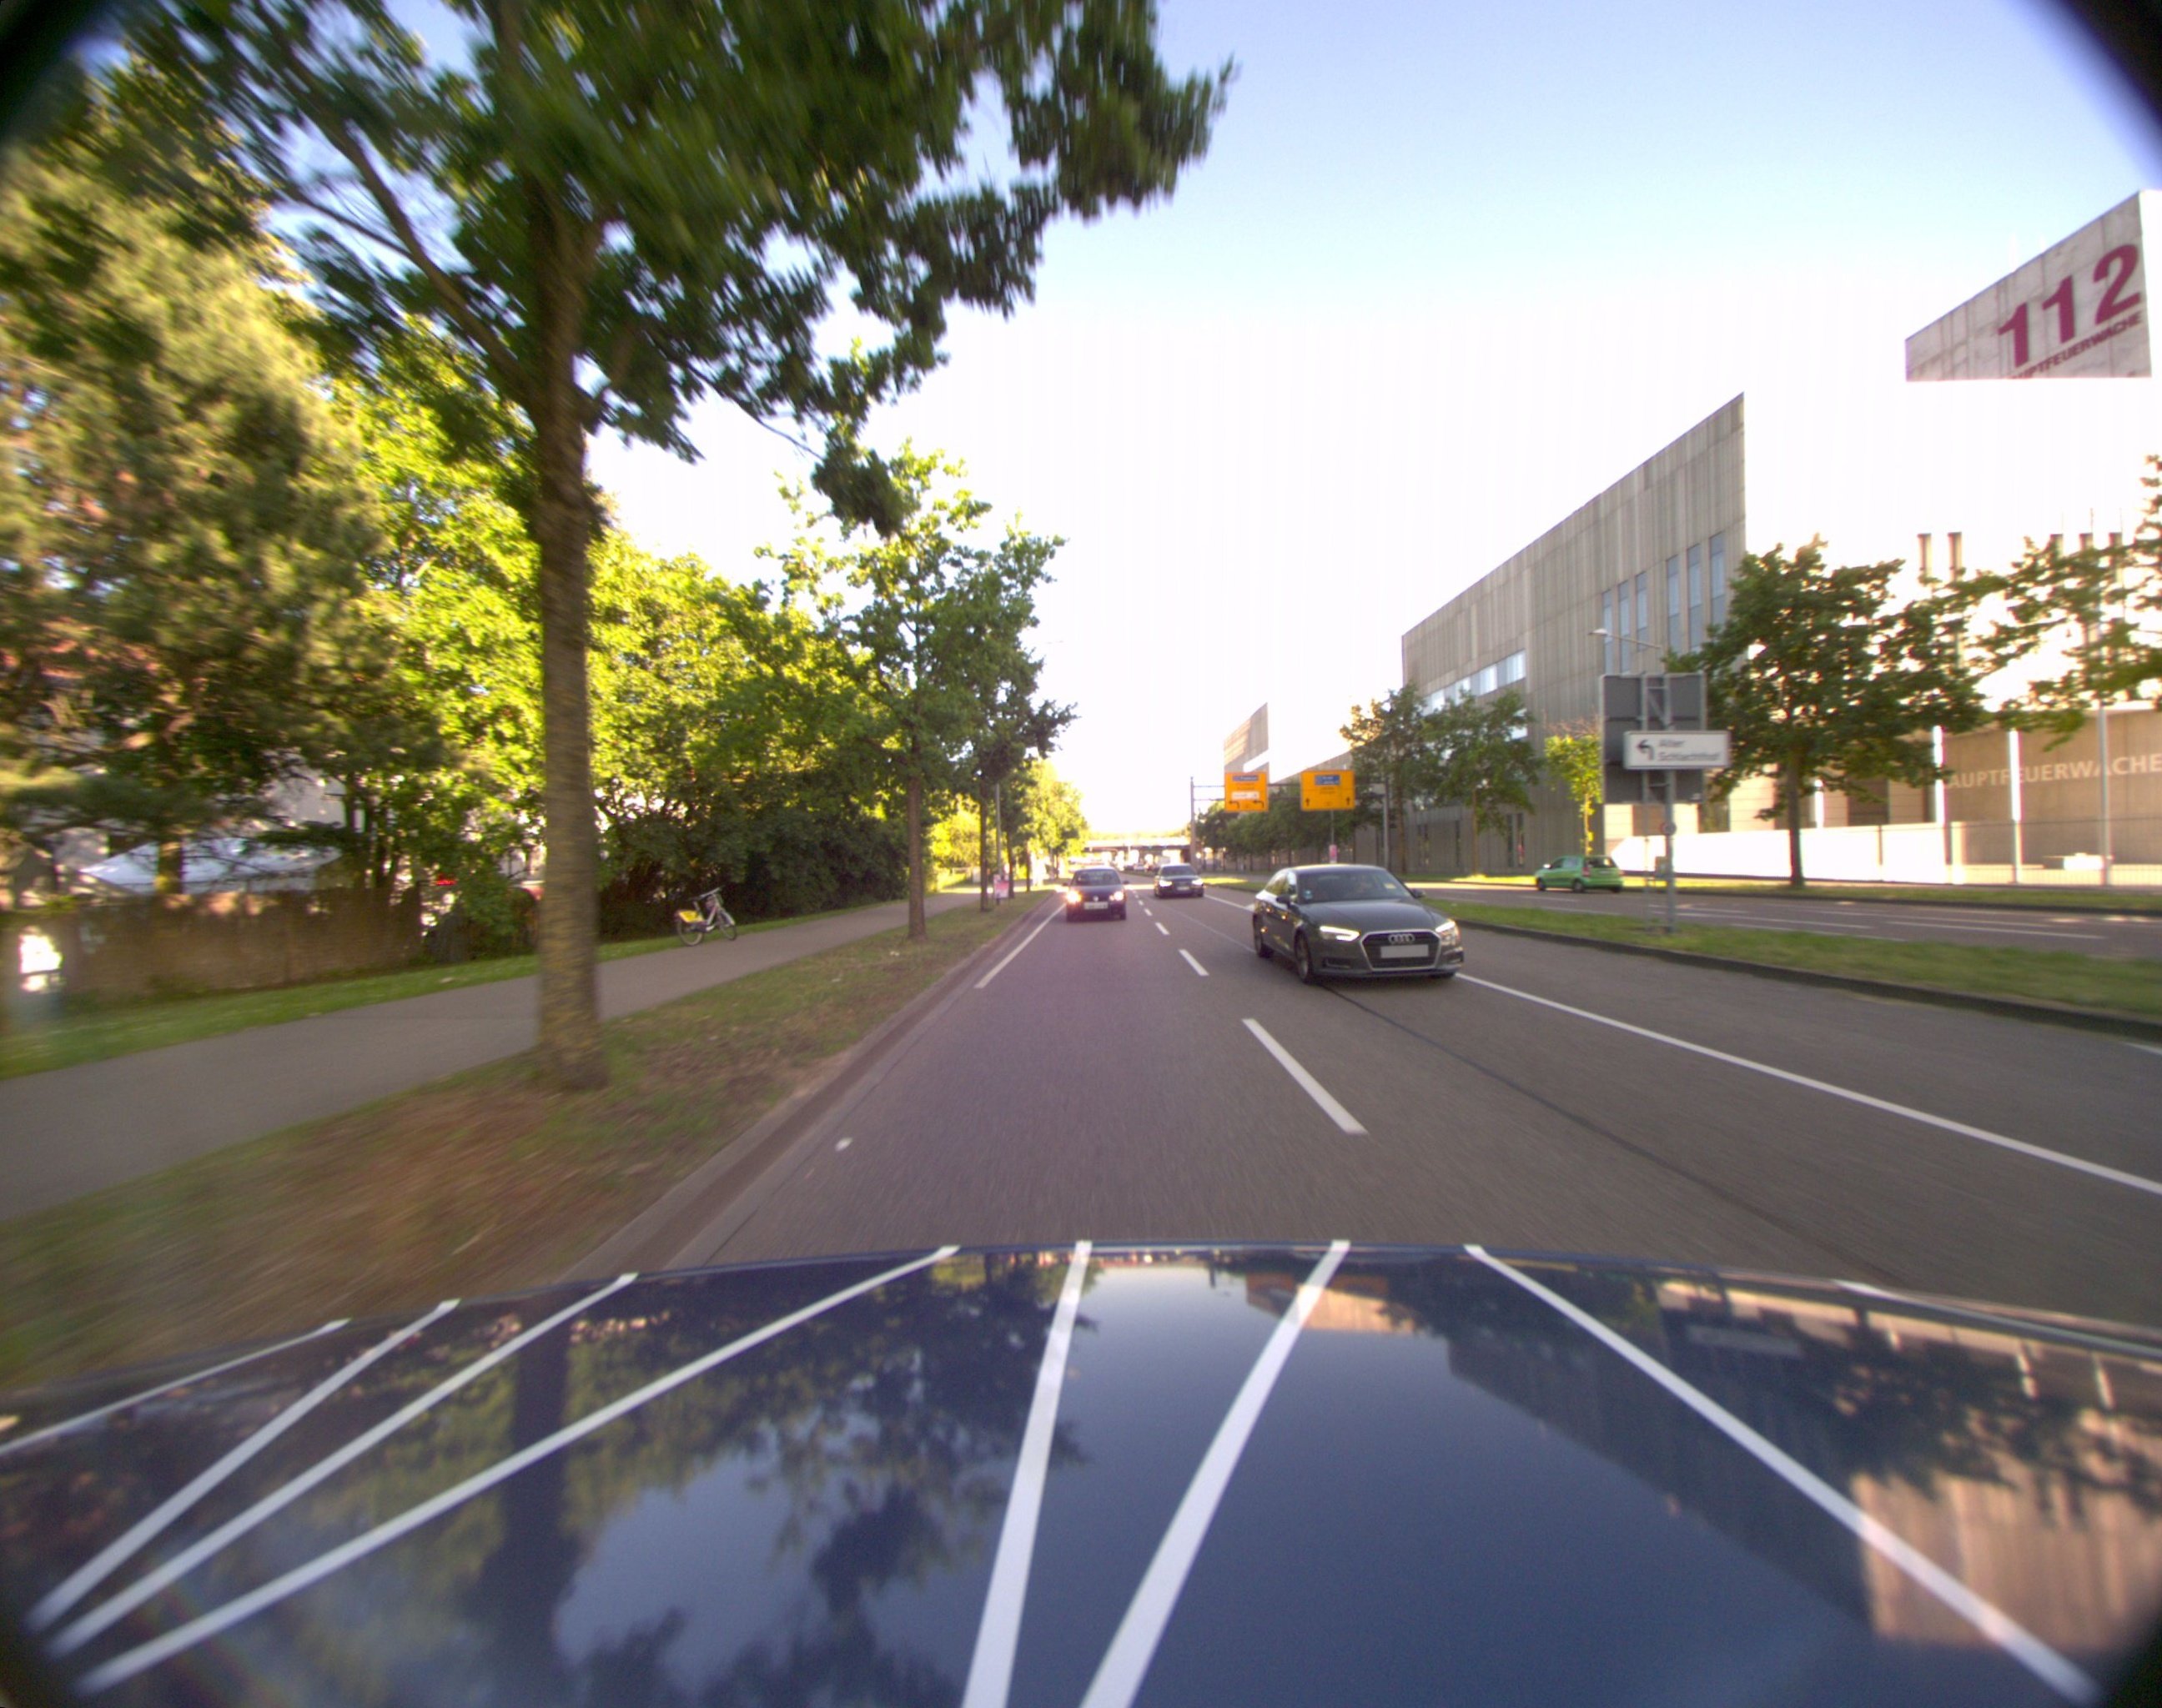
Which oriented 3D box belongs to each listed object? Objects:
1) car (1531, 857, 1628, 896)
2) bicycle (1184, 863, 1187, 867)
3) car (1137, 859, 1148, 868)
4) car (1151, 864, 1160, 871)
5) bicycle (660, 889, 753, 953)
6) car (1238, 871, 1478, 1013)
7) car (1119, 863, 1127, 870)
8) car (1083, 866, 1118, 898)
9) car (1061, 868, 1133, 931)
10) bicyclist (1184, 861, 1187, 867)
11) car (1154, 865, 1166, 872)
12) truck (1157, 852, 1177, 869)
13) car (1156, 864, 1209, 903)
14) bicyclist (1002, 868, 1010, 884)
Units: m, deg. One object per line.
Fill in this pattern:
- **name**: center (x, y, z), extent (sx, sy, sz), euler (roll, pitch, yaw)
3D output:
- **car**: center (19.491, 0.858, 29.866), extent (1.450, 1.428, 3.459), euler (-2, -1, -1)
- **bicycle**: center (28.101, 2.961, 204.157), extent (0.513, 0.885, 1.754), euler (-1, -1, 0)
- **car**: center (12.016, 1.870, 149.688), extent (1.828, 1.672, 4.659), euler (0, 0, 0)
- **car**: center (15.706, 2.834, 160.000), extent (1.624, 1.460, 3.640), euler (0, -1, 1)
- **bicycle**: center (-7.347, 1.291, 15.009), extent (0.775, 1.124, 1.710), euler (-2, 0, 8)
- **car**: center (3.445, 1.000, 10.403), extent (1.702, 1.395, 4.365), euler (-3, -1, 1)
- **car**: center (9.388, 2.718, 170.479), extent (1.605, 1.571, 3.213), euler (0, 0, 1)
- **car**: center (0.957, 1.413, 39.460), extent (1.702, 1.478, 3.947), euler (-2, 0, 0)
- **car**: center (0.395, 1.152, 20.700), extent (1.702, 1.474, 4.053), euler (-3, -1, 0)
- **bicyclist**: center (28.089, 2.662, 204.080), extent (0.509, 1.433, 0.753), euler (-1, 0, 0)
- **car**: center (14.816, 2.713, 142.720), extent (1.840, 1.415, 4.001), euler (0, -1, 0)
- **truck**: center (15.062, 1.178, 133.292), extent (2.692, 2.943, 7.115), euler (0, -1, 1)
- **car**: center (4.302, 1.206, 32.640), extent (1.702, 1.528, 3.947), euler (-2, 0, 0)
- **bicyclist**: center (-7.038, 2.061, 71.337), extent (0.686, 1.513, 1.036), euler (-2, 0, -3)
